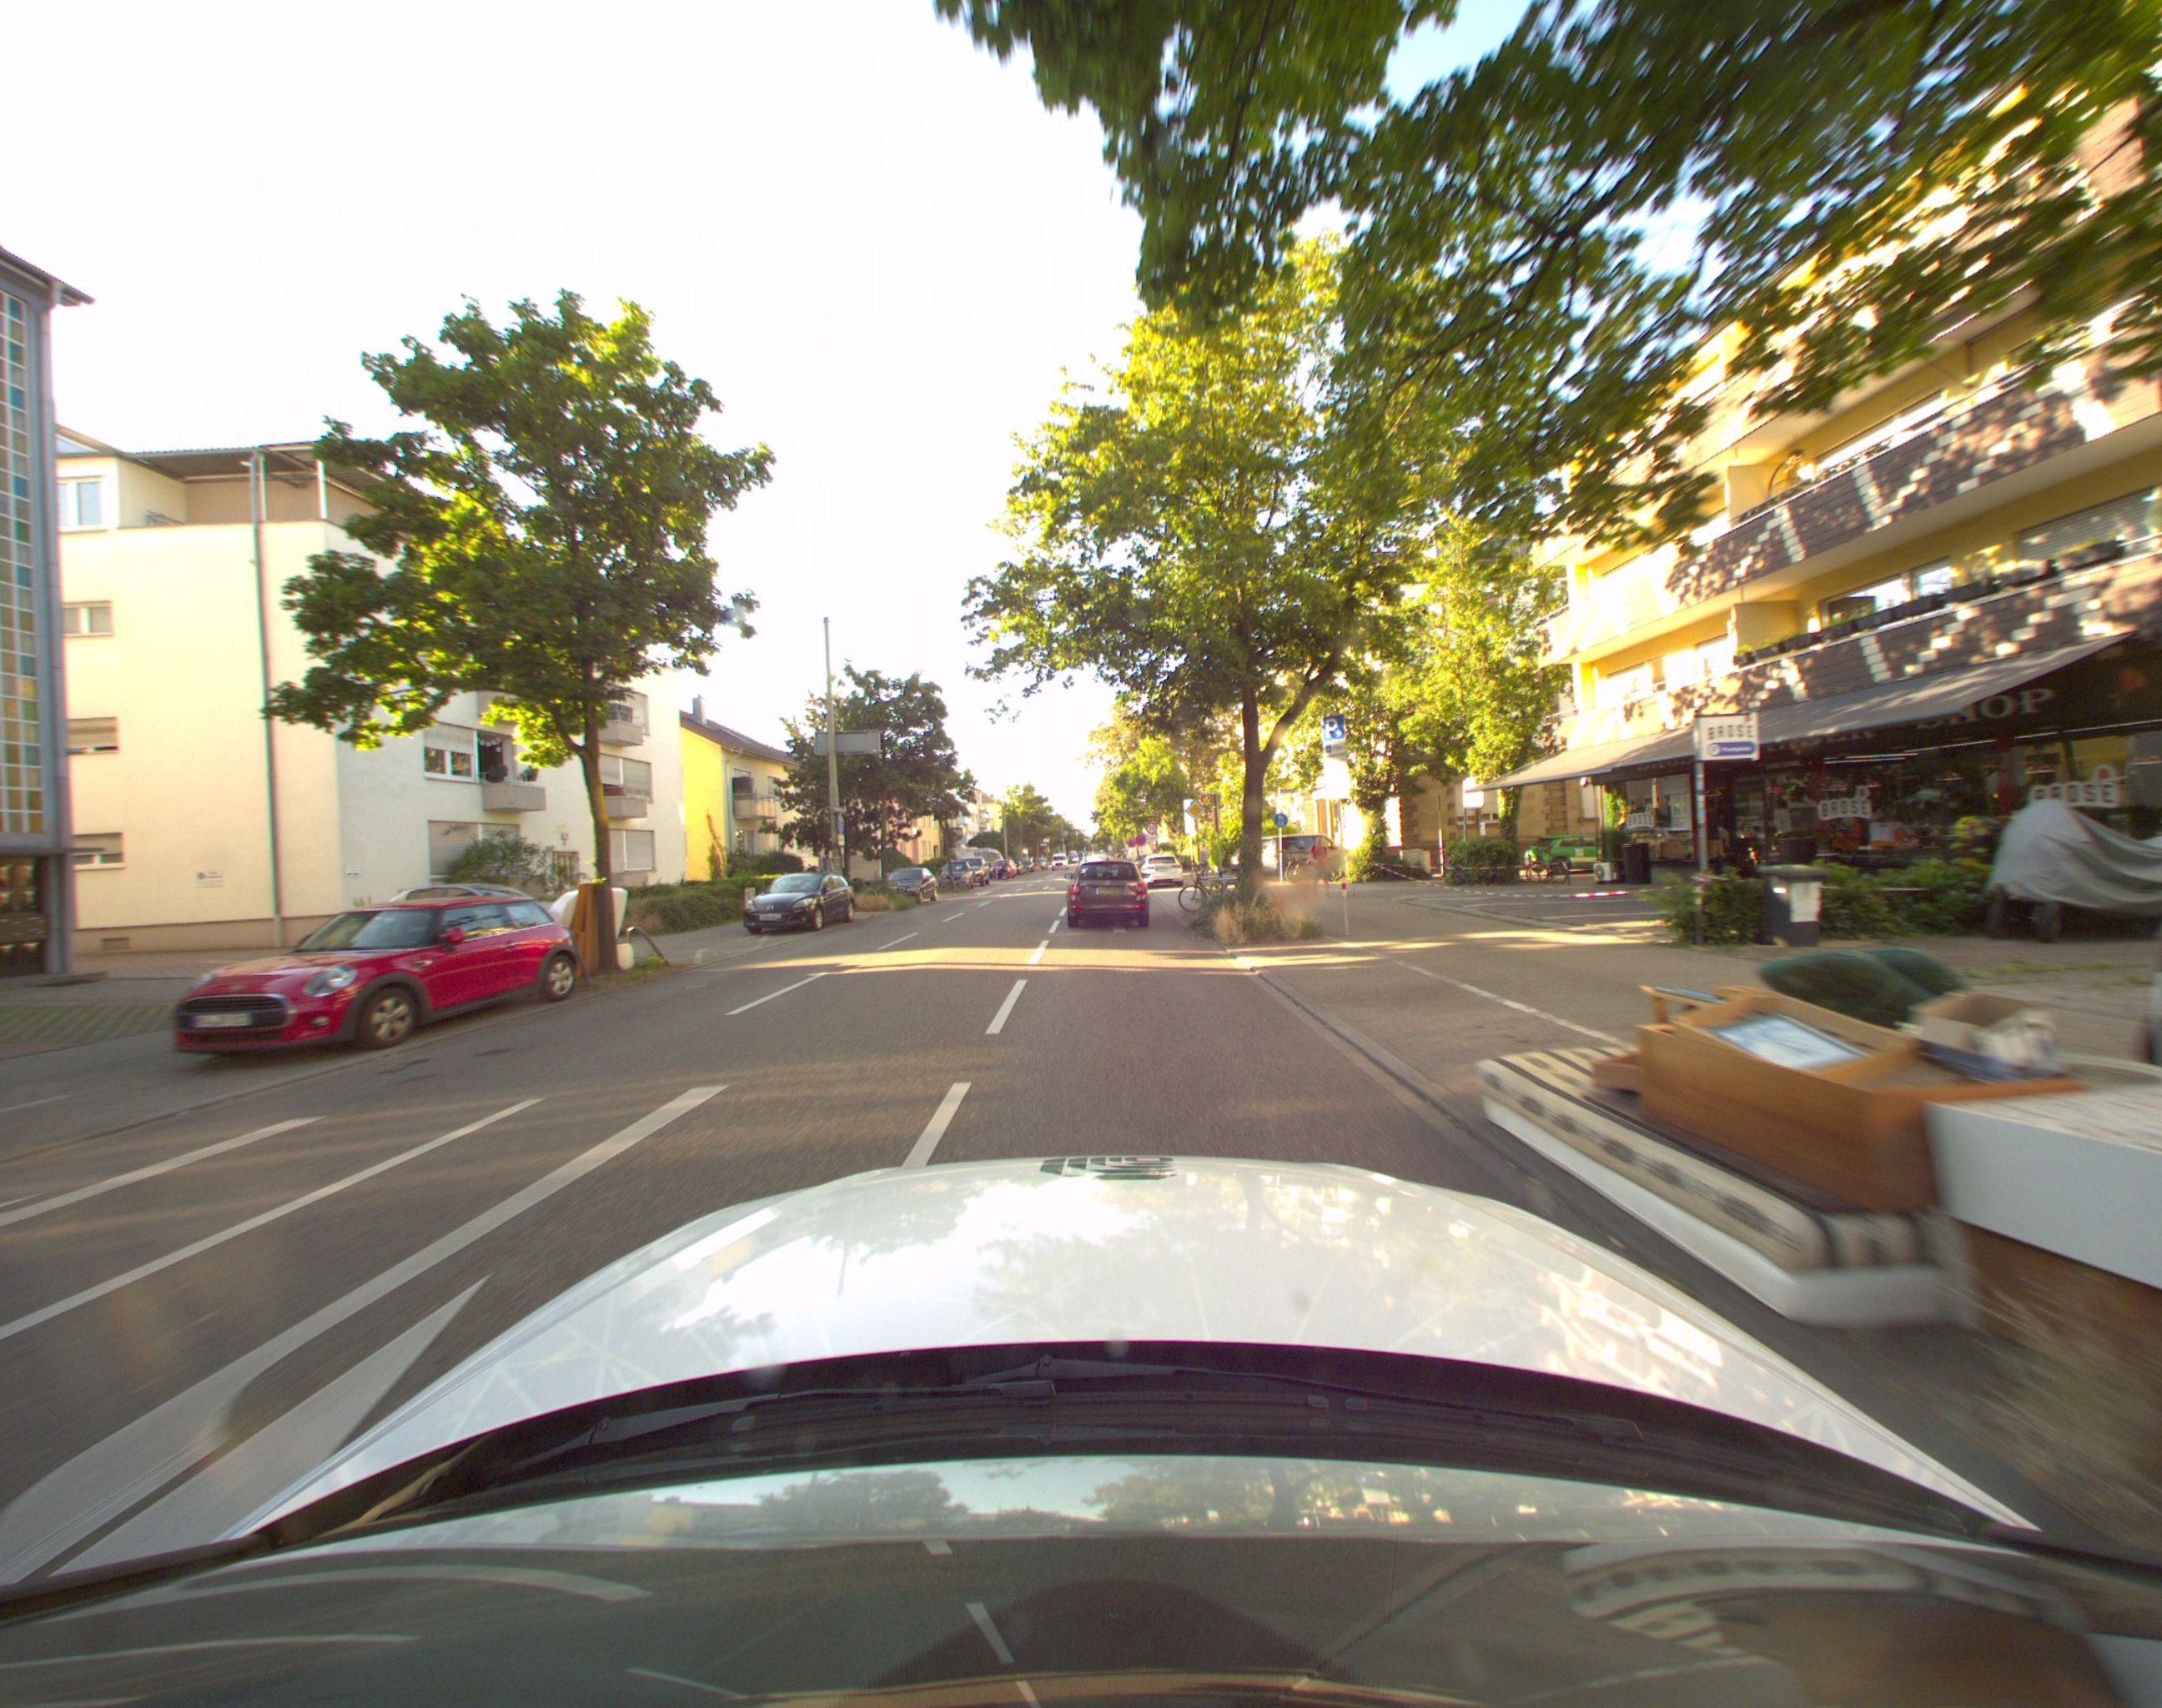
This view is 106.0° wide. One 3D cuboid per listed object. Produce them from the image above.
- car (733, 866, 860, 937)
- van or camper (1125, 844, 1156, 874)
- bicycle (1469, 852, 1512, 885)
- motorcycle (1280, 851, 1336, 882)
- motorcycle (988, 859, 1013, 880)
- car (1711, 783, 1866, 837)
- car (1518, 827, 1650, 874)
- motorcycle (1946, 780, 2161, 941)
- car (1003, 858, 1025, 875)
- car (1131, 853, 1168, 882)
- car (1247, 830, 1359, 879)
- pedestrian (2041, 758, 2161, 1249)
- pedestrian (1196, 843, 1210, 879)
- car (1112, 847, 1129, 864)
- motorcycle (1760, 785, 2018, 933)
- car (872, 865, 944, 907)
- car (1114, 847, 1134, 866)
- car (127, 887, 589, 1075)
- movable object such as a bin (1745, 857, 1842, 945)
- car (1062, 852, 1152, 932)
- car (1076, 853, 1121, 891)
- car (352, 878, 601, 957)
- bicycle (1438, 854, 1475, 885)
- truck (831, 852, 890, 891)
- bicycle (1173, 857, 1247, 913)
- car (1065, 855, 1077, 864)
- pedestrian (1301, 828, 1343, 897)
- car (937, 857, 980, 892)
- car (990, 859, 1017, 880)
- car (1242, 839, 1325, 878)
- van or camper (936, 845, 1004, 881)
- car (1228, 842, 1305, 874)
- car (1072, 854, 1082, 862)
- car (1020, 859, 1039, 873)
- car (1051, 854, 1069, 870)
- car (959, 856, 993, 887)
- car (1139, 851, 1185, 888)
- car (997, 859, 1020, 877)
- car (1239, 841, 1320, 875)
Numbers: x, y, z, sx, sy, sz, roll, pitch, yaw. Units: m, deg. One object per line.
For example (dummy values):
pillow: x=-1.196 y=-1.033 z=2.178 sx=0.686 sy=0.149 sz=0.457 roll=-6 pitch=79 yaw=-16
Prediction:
car: x=-7.320 y=1.155 z=21.437 sx=1.711 sy=1.497 sz=4.249 roll=-3 pitch=0 yaw=1
van or camper: x=4.350 y=0.356 z=59.777 sx=1.986 sy=2.013 sz=4.001 roll=-3 pitch=0 yaw=1
bicycle: x=12.476 y=0.444 z=24.851 sx=0.341 sy=0.950 sz=1.579 roll=-5 pitch=0 yaw=-4
motorcycle: x=8.984 y=0.497 z=32.196 sx=2.047 sy=1.125 sz=0.524 roll=-3 pitch=0 yaw=-5
motorcycle: x=-6.032 y=1.165 z=60.957 sx=0.771 sy=1.512 sz=2.006 roll=-3 pitch=0 yaw=-42
car: x=21.897 y=-1.336 z=25.295 sx=3.334 sy=1.418 sz=1.661 roll=-3 pitch=0 yaw=1
car: x=19.466 y=-0.154 z=31.627 sx=3.903 sy=1.585 sz=1.930 roll=-3 pitch=0 yaw=1
motorcycle: x=11.082 y=0.048 z=8.860 sx=2.182 sy=1.621 sz=0.891 roll=-3 pitch=0 yaw=7
car: x=-6.212 y=1.188 z=76.096 sx=1.658 sy=1.432 sz=3.276 roll=-3 pitch=0 yaw=1
car: x=3.675 y=0.691 z=44.365 sx=1.813 sy=1.413 sz=4.115 roll=-3 pitch=0 yaw=3
car: x=9.760 y=0.009 z=35.773 sx=4.558 sy=1.892 sz=1.898 roll=-3 pitch=0 yaw=-27
pedestrian: x=3.730 y=0.427 z=2.591 sx=1.065 sy=1.476 sz=0.476 roll=-3 pitch=0 yaw=-19
pedestrian: x=6.173 y=0.349 z=41.218 sx=0.533 sy=1.794 sz=0.688 roll=-3 pitch=0 yaw=3
car: x=4.613 y=0.148 z=95.573 sx=1.724 sy=1.815 sz=3.950 roll=-3 pitch=0 yaw=0
motorcycle: x=9.684 y=0.068 z=9.842 sx=2.182 sy=1.621 sz=0.733 roll=-3 pitch=0 yaw=7
car: x=-6.837 y=1.223 z=32.711 sx=1.747 sy=1.420 sz=4.427 roll=-3 pitch=0 yaw=2
car: x=4.394 y=0.245 z=83.079 sx=1.724 sy=1.815 sz=3.950 roll=-3 pitch=0 yaw=0
car: x=-7.630 y=1.215 z=9.198 sx=1.711 sy=1.421 sz=3.787 roll=-3 pitch=0 yaw=1
movable object such as a bin: x=8.198 y=0.523 z=9.387 sx=0.610 sy=0.949 sz=0.540 roll=-3 pitch=0 yaw=1
car: x=0.588 y=0.747 z=18.172 sx=1.723 sy=1.493 sz=3.953 roll=-3 pitch=0 yaw=2
car: x=0.746 y=0.771 z=36.727 sx=1.725 sy=1.493 sz=3.947 roll=-3 pitch=0 yaw=-3
car: x=-13.431 y=1.368 z=18.317 sx=3.978 sy=1.479 sz=1.998 roll=-2 pitch=0 yaw=-3
bicycle: x=11.717 y=0.479 z=25.444 sx=0.341 sy=0.950 sz=1.579 roll=0 pitch=0 yaw=-4
truck: x=-12.795 y=1.023 z=47.401 sx=2.904 sy=2.093 sz=1.546 roll=-3 pitch=0 yaw=0
bicycle: x=3.190 y=0.768 z=20.118 sx=1.659 sy=1.226 sz=0.638 roll=-5 pitch=0 yaw=13
car: x=-1.866 y=0.998 z=155.278 sx=1.986 sy=1.508 sz=4.001 roll=-3 pitch=0 yaw=1
pedestrian: x=6.537 y=0.224 z=22.113 sx=0.754 sy=1.796 sz=0.905 roll=-3 pitch=0 yaw=-4
car: x=-6.858 y=1.127 z=45.899 sx=1.744 sy=1.740 sz=3.592 roll=-3 pitch=0 yaw=1
car: x=-6.246 y=1.238 z=65.860 sx=1.658 sy=1.511 sz=4.179 roll=-3 pitch=0 yaw=1
car: x=9.754 y=0.189 z=39.156 sx=3.823 sy=1.679 sz=1.498 roll=-3 pitch=0 yaw=-29
van or camper: x=-13.218 y=1.009 z=97.162 sx=7.618 sy=3.874 sz=1.999 roll=-3 pitch=0 yaw=-1
car: x=10.002 y=0.213 z=43.892 sx=3.814 sy=1.525 sz=1.501 roll=-3 pitch=0 yaw=-21
car: x=-0.849 y=0.835 z=168.240 sx=1.986 sy=1.508 sz=4.001 roll=-3 pitch=0 yaw=1
car: x=-5.509 y=1.265 z=87.257 sx=1.658 sy=1.432 sz=3.276 roll=-3 pitch=0 yaw=1
car: x=-2.393 y=0.901 z=94.160 sx=1.870 sy=1.757 sz=4.179 roll=-3 pitch=0 yaw=1
car: x=-6.490 y=1.037 z=50.563 sx=1.501 sy=1.757 sz=3.694 roll=-3 pitch=0 yaw=1
car: x=3.509 y=0.634 z=35.879 sx=1.813 sy=1.413 sz=4.115 roll=-3 pitch=0 yaw=3
car: x=-6.336 y=1.186 z=71.551 sx=1.658 sy=1.432 sz=3.276 roll=-3 pitch=0 yaw=1
car: x=10.163 y=0.220 z=41.767 sx=3.814 sy=1.525 sz=1.501 roll=-3 pitch=0 yaw=-21
